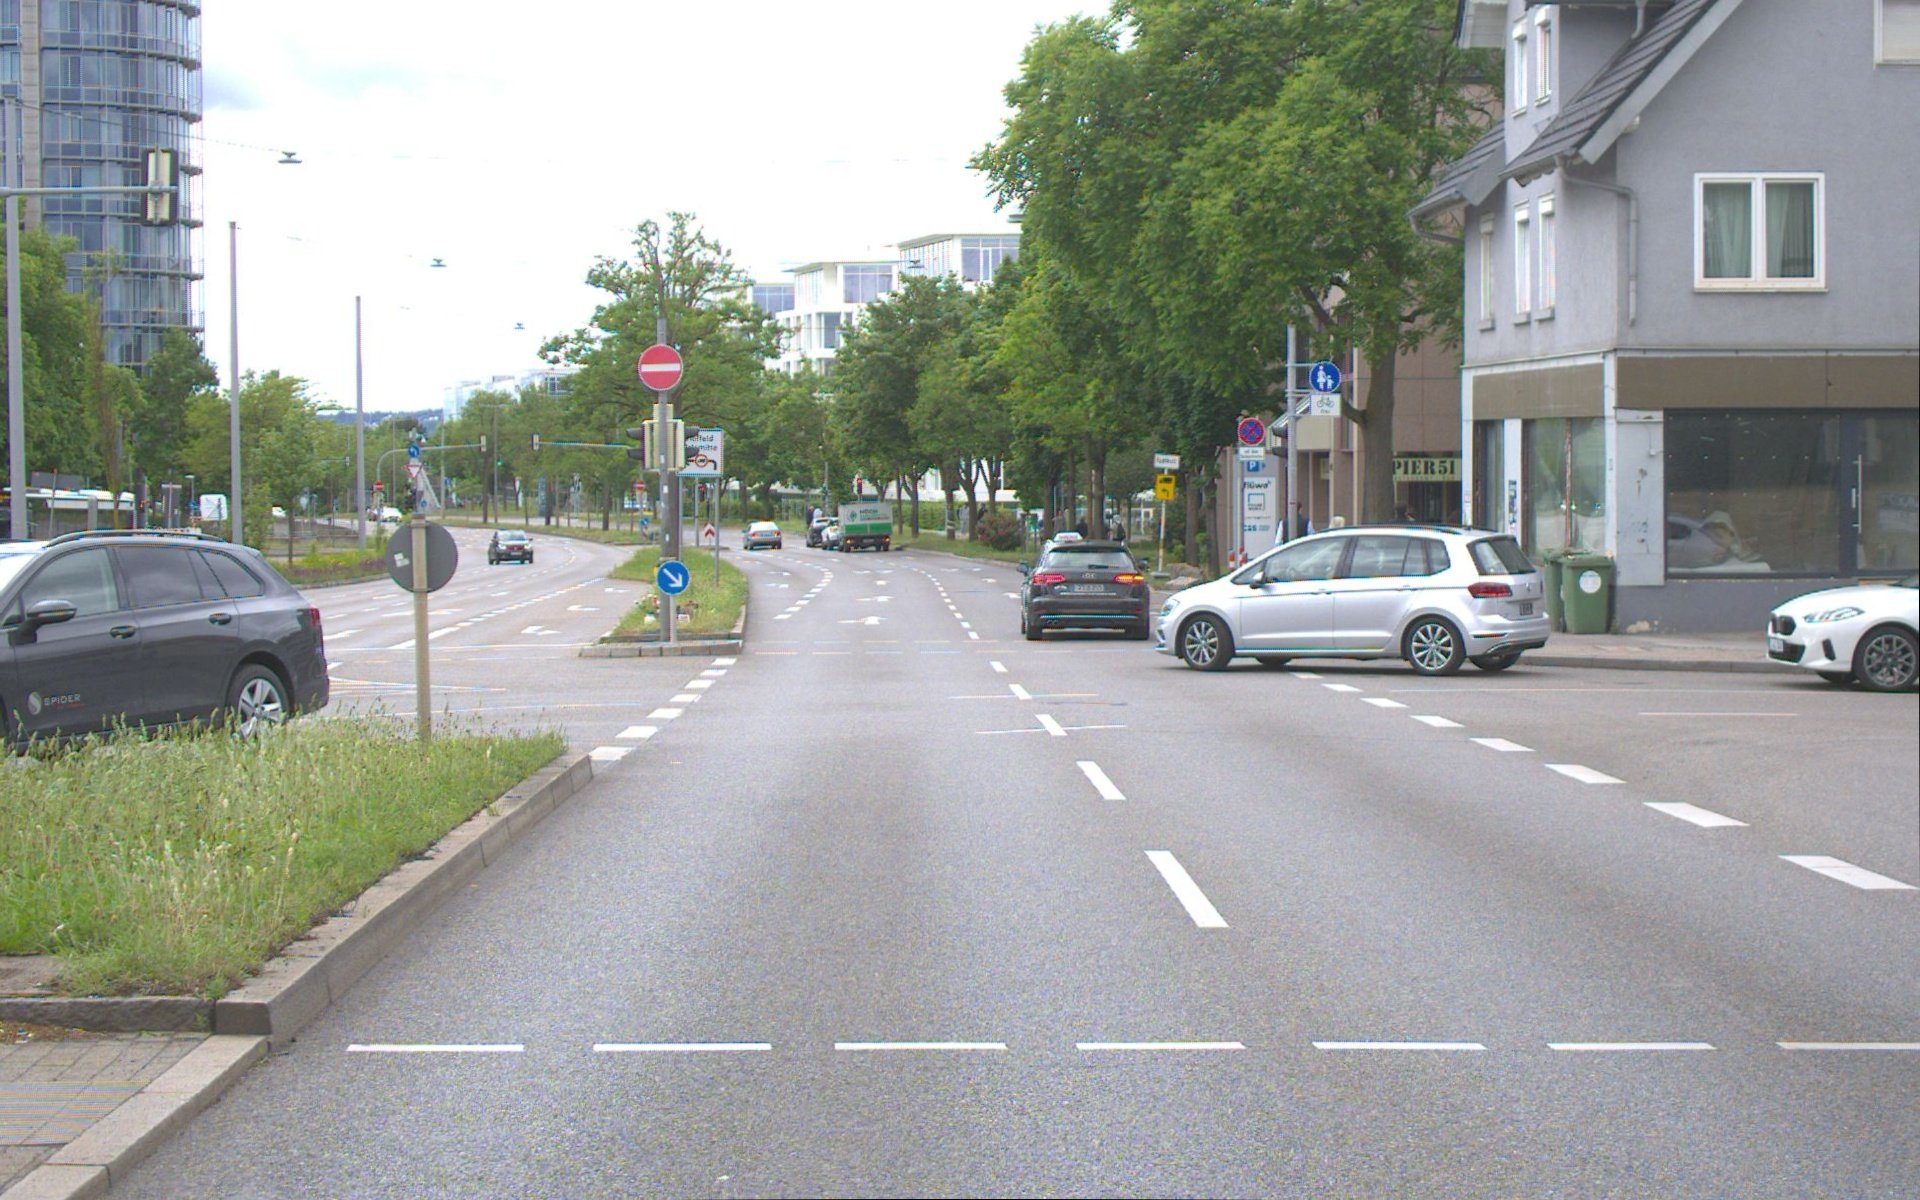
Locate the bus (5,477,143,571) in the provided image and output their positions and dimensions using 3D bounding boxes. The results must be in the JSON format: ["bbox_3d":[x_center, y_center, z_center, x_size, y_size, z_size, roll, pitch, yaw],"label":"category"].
[{"bbox_3d":[-31.733,-2.712,123.473,3.144,3.214,7.766,-1,1,-2],"label":"bus"}]

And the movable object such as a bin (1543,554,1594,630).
[{"bbox_3d":[7.932,-0.106,44.843,0.529,0.976,0.736,-1,1,-1],"label":"movable object such as a bin"}]

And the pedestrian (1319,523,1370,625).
[{"bbox_3d":[5.732,-0.392,51.295,0.705,1.502,0.870,-1,1,4],"label":"pedestrian"}]

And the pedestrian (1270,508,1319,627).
[{"bbox_3d":[5.043,-0.498,51.869,0.705,1.773,0.870,-1,1,5],"label":"pedestrian"}]

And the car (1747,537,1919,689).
[{"bbox_3d":[10.285,0.128,34.545,4.242,1.472,2.000,1,1,-2],"label":"car"}]

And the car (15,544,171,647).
[{"bbox_3d":[-12.804,-0.092,50.928,1.684,1.457,3.556,-1,1,-5],"label":"car"}]

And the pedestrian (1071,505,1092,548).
[{"bbox_3d":[4.485,-2.714,126.874,0.650,1.564,0.671,-1,1,-8],"label":"pedestrian"}]

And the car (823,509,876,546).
[{"bbox_3d":[-5.307,-3.480,165.070,2.251,1.751,4.934,-1,1,-5],"label":"car"}]

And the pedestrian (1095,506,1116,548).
[{"bbox_3d":[5.377,-2.693,126.751,0.650,1.564,0.671,-1,1,-8],"label":"pedestrian"}]

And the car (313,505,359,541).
[{"bbox_3d":[-36.330,-4.466,200.266,1.965,2.007,4.000,1,1,-1],"label":"car"}]

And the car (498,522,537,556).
[{"bbox_3d":[-19.913,-2.742,154.529,1.702,1.487,3.563,-1,1,-8],"label":"car"}]

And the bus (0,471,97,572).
[{"bbox_3d":[-31.394,-2.571,114.469,3.144,3.214,10.286,-1,1,-3],"label":"bus"}]

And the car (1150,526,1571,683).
[{"bbox_3d":[4.316,0.017,37.184,4.107,1.535,1.825,2,1,30],"label":"car"}]

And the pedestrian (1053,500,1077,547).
[{"bbox_3d":[4.545,-3.314,148.670,0.971,2.007,0.981,1,0,-1],"label":"pedestrian"}]

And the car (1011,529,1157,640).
[{"bbox_3d":[1.740,-0.237,49.373,1.889,1.489,4.099,-1,1,0],"label":"car"}]

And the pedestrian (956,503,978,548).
[{"bbox_3d":[0.362,-3.849,177.271,0.930,2.300,1.011,1,0,-10],"label":"pedestrian"}]

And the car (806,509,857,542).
[{"bbox_3d":[-6.503,-3.745,173.863,2.250,1.641,4.934,-1,1,-5],"label":"car"}]

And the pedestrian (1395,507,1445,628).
[{"bbox_3d":[6.793,-0.484,50.775,0.705,1.754,1.052,0,1,7],"label":"pedestrian"}]

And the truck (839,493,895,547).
[{"bbox_3d":[-4.262,-3.648,156.472,2.251,2.408,4.934,0,1,-5],"label":"truck"}]

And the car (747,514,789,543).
[{"bbox_3d":[-9.688,-3.599,173.156,1.967,1.415,4.023,-1,1,-5],"label":"car"}]

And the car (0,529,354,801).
[{"bbox_3d":[-5.646,0.341,20.581,1.712,1.476,4.282,2,2,28],"label":"car"}]

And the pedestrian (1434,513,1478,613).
[{"bbox_3d":[8.274,-0.621,57.376,0.705,1.656,0.870,0,1,7],"label":"pedestrian"}]

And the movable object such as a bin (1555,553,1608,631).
[{"bbox_3d":[7.960,-0.105,44.053,0.529,0.976,0.736,-1,1,-1],"label":"movable object such as a bin"}]

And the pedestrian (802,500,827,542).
[{"bbox_3d":[-8.452,-4.569,199.322,1.232,2.393,1.310,-1,1,-10],"label":"pedestrian"}]
